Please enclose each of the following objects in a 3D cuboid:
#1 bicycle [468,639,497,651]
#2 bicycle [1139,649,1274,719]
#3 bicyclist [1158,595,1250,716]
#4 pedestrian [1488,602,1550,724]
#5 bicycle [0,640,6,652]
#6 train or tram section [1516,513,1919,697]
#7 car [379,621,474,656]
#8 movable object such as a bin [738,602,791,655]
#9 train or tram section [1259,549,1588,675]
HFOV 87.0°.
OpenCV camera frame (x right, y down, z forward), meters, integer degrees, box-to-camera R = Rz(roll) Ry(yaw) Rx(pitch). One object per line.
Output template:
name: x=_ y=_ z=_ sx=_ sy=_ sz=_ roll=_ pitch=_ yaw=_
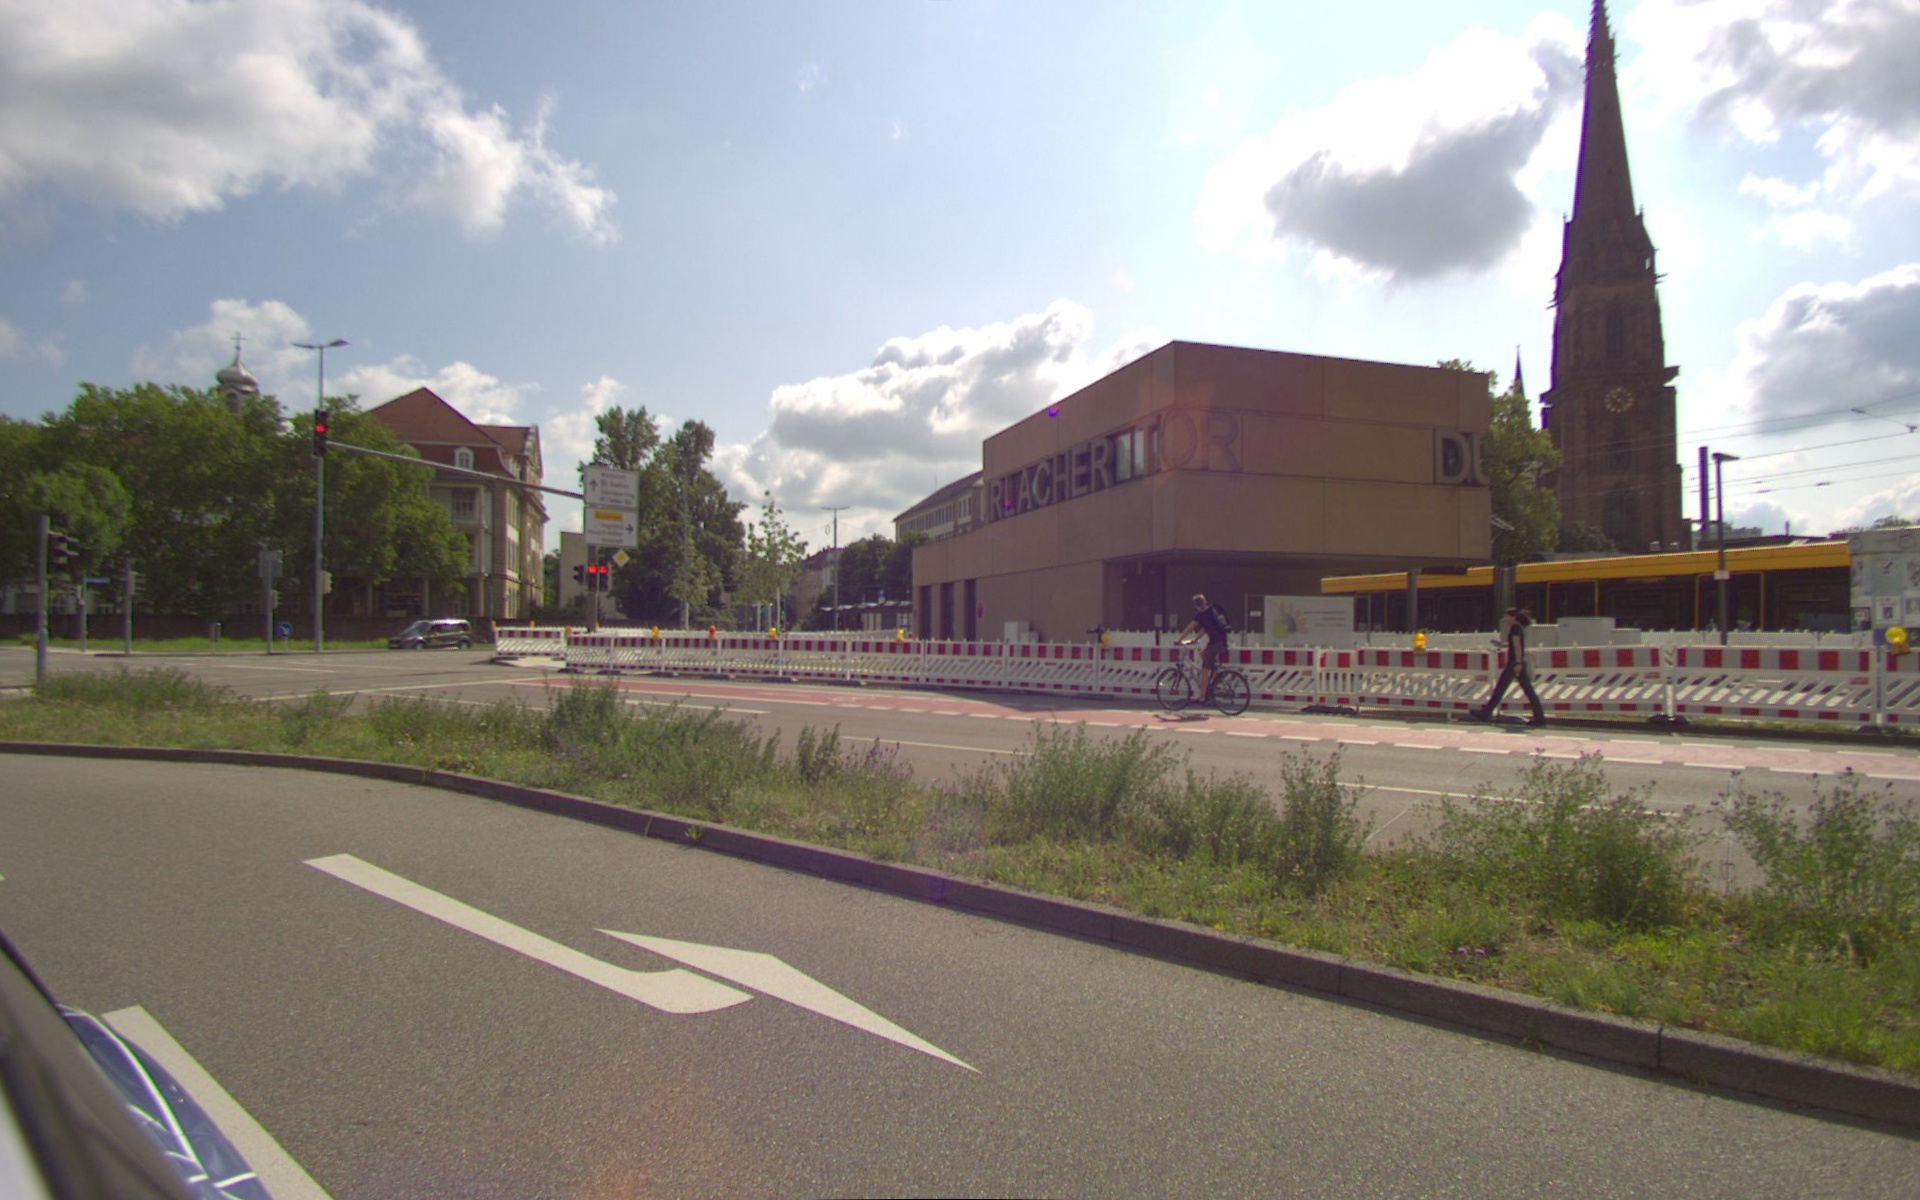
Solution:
bicycle: x=-38.227 y=3.593 z=81.030 sx=2.025 sy=0.867 sz=0.861 roll=1 pitch=-1 yaw=-29
bicycle: x=3.871 y=1.303 z=16.023 sx=2.017 sy=1.009 sz=0.610 roll=-2 pitch=-2 yaw=41
bicyclist: x=3.863 y=0.852 z=16.053 sx=1.159 sy=1.836 sz=0.802 roll=-2 pitch=-2 yaw=42
pedestrian: x=8.003 y=0.884 z=14.487 sx=0.640 sy=1.694 sz=0.728 roll=-2 pitch=-2 yaw=39
bicycle: x=-69.811 y=3.342 z=73.307 sx=0.492 sy=0.855 sz=1.075 roll=0 pitch=-2 yaw=-5
train or tram section: x=19.062 y=0.192 z=23.334 sx=2.622 sy=3.599 sz=12.451 roll=0 pitch=-2 yaw=-18
car: x=-29.382 y=2.141 z=55.905 sx=1.840 sy=1.799 sz=4.642 roll=-2 pitch=-3 yaw=18
movable object such as a bin: x=-11.604 y=1.695 z=59.796 sx=1.965 sy=2.972 sz=4.465 roll=1 pitch=-2 yaw=-26
train or tram section: x=15.216 y=0.518 z=35.202 sx=2.585 sy=3.591 sz=12.451 roll=0 pitch=-2 yaw=-18
